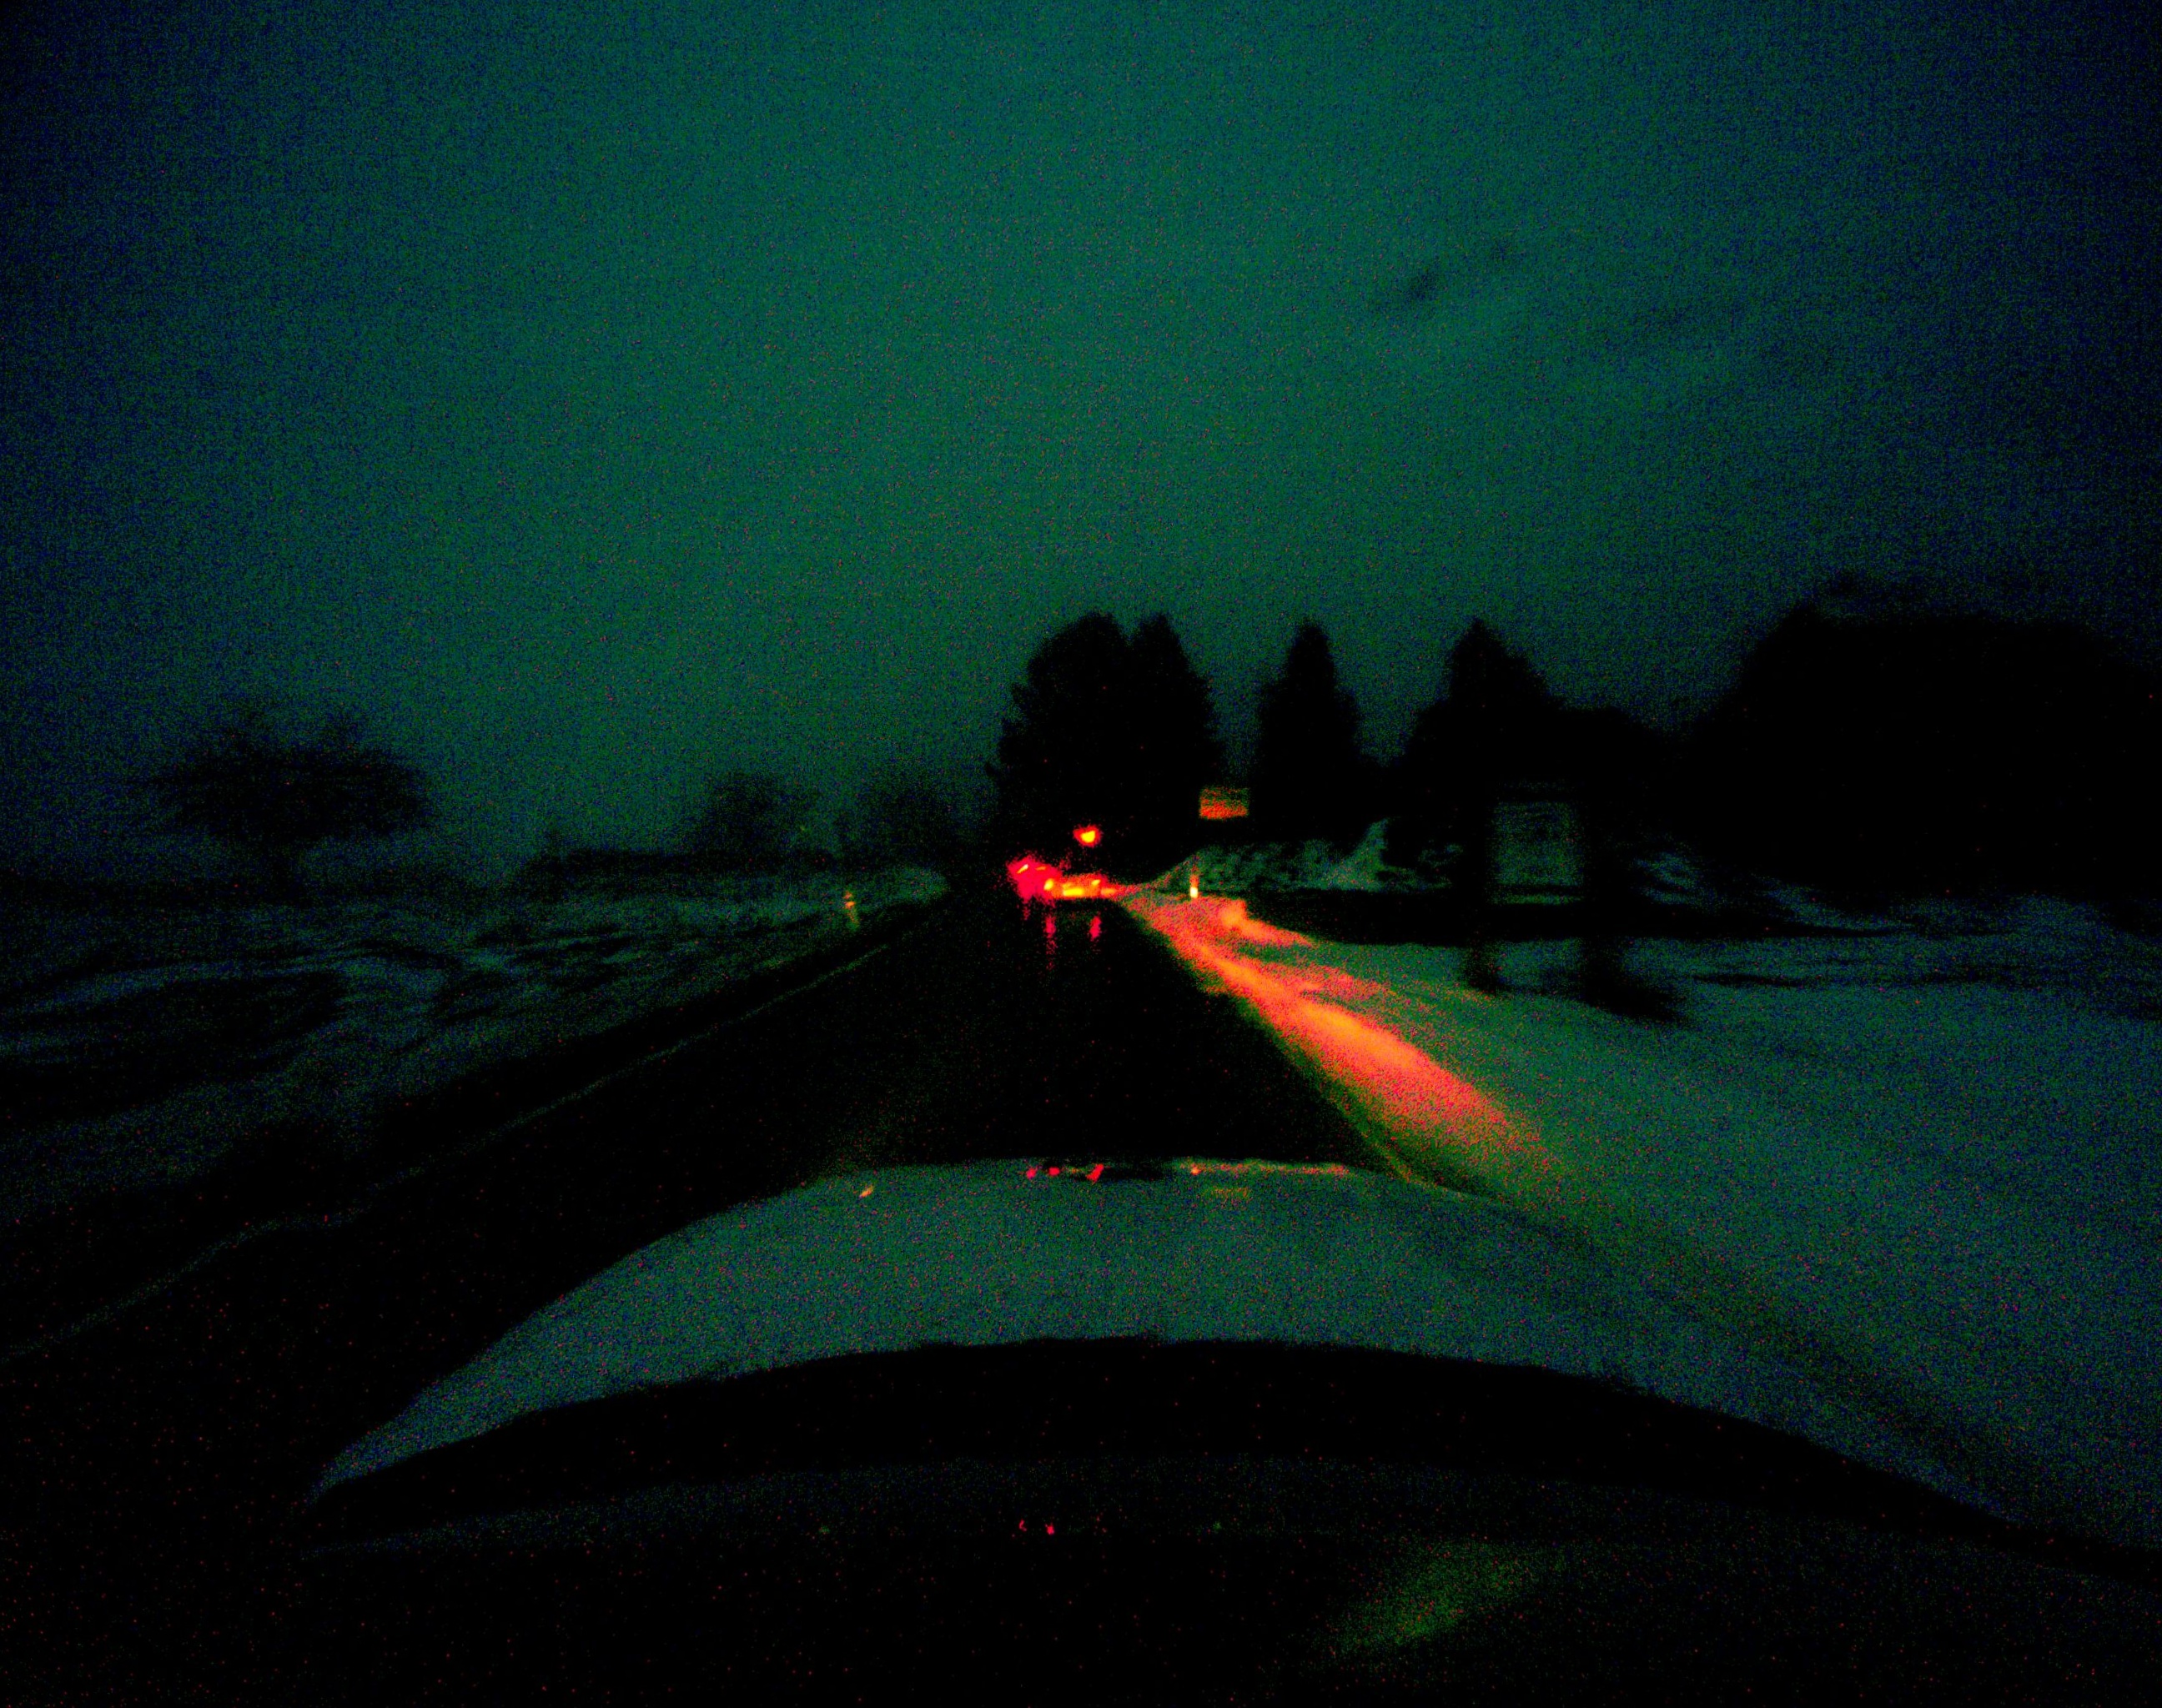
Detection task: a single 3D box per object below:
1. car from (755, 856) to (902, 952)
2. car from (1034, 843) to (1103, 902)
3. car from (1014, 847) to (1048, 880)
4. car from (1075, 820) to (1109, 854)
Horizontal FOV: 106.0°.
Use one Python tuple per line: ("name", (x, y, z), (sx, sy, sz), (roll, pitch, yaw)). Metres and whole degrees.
("car", (-4.388, 0.827, 14.608), (1.516, 1.508, 3.055), (-1, -1, 3))
("car", (-0.439, 0.570, 24.015), (1.704, 1.463, 3.993), (4, -2, -4))
("car", (-2.343, 0.443, 38.911), (1.475, 1.508, 3.050), (-1, 0, -2))
("car", (0.546, -0.782, 39.306), (1.472, 1.508, 3.055), (-1, -1, 3))
